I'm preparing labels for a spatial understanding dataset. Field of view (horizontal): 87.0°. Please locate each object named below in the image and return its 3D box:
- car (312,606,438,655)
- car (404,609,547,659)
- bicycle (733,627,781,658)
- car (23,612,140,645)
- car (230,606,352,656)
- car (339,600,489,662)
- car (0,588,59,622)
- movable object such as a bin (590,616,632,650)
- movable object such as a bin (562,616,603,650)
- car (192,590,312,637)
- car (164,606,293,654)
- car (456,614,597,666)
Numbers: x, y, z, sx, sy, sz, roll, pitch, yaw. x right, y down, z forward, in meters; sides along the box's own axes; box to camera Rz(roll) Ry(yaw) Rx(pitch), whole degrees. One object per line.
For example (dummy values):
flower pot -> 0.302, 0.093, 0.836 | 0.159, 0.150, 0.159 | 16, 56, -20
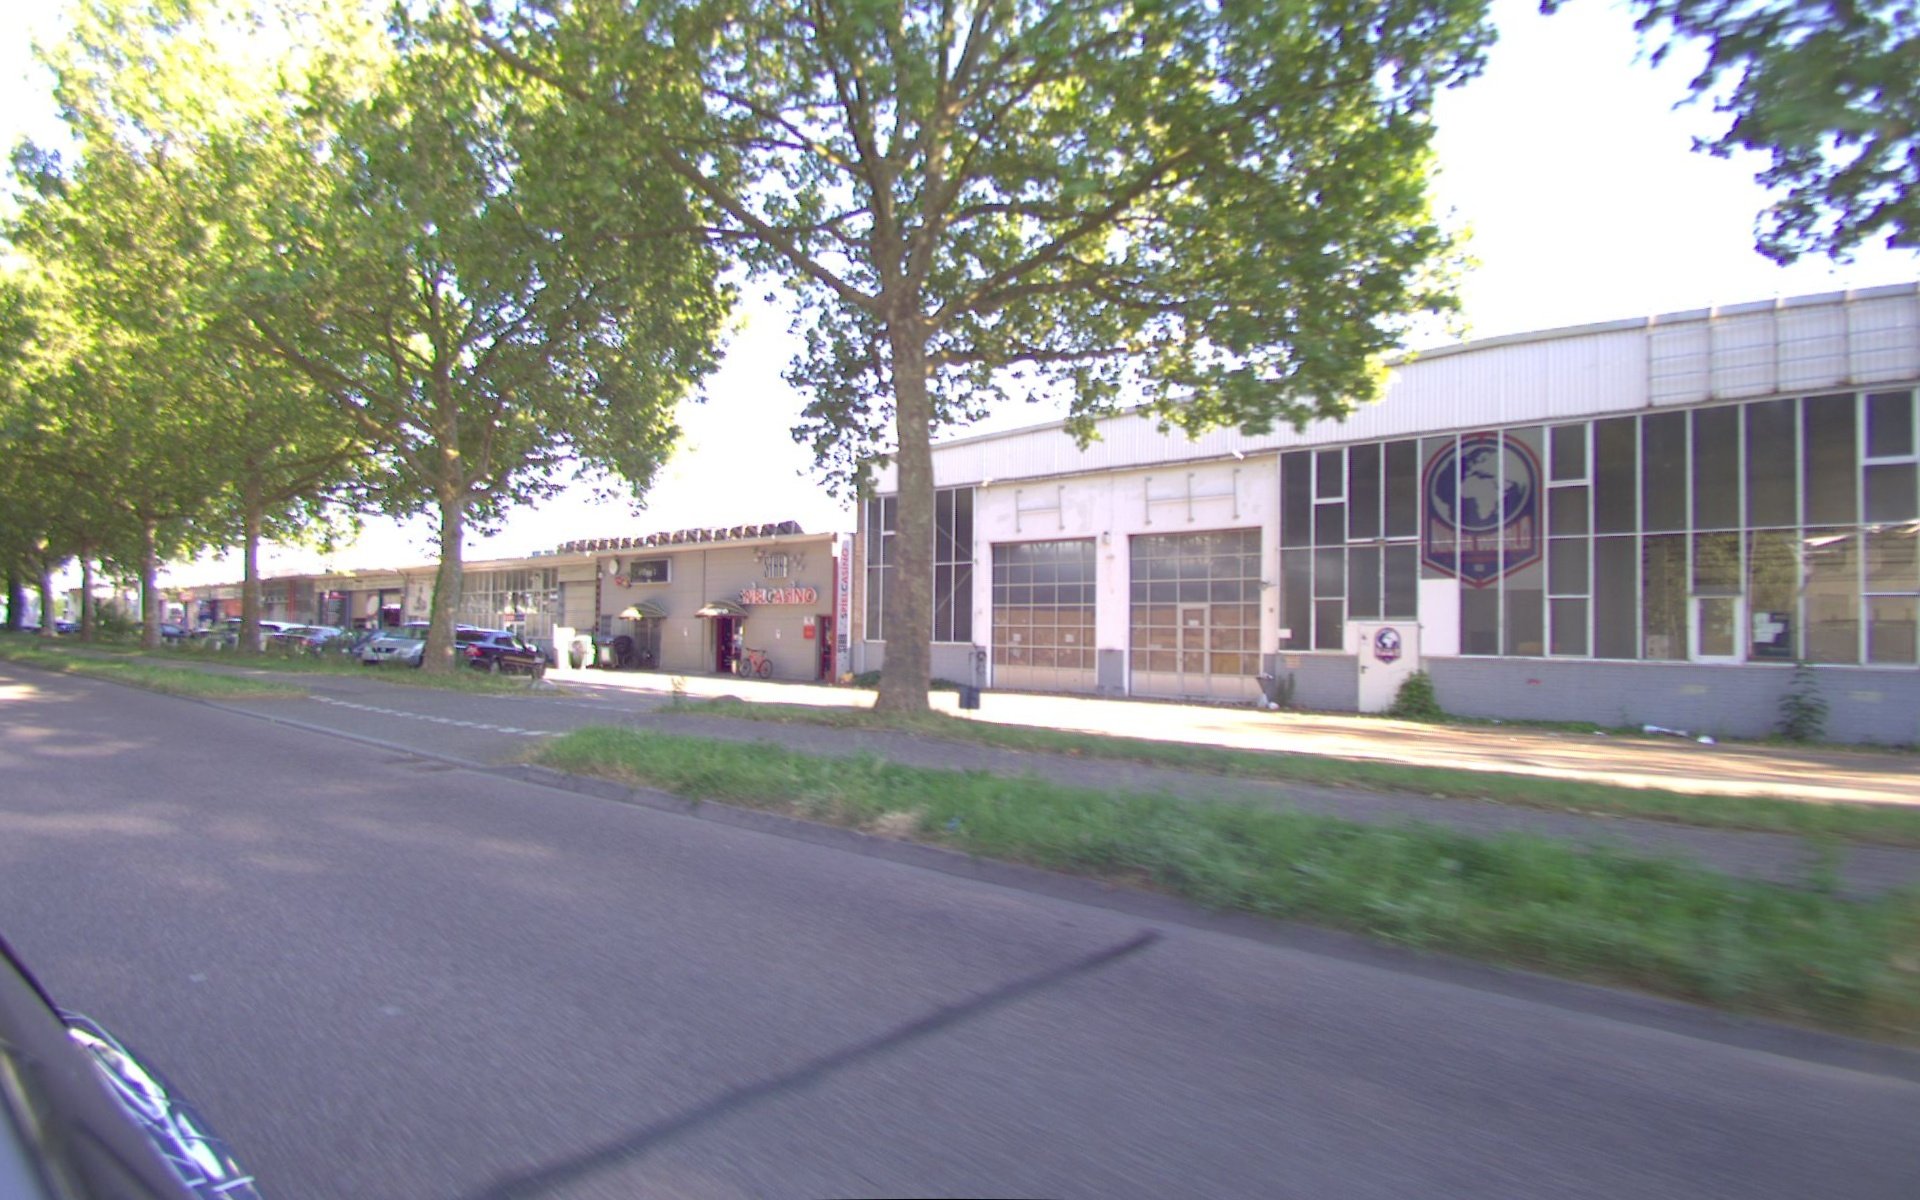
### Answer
car -> -21.228, 1.053, 36.958 | 1.974, 1.641, 4.258 | 0, 0, 4
car -> -13.706, 0.945, 28.956 | 1.972, 1.316, 4.484 | 0, -2, 0
bicycle -> -7.612, 1.579, 37.897 | 2.159, 1.066, 0.530 | 0, 5, 43
car -> -51.289, 1.642, 59.226 | 1.983, 1.773, 4.872 | 0, 0, 17
car -> -23.888, 1.059, 36.343 | 1.969, 1.641, 4.269 | 0, 0, -7
car -> -16.519, 0.874, 30.911 | 1.974, 1.744, 4.479 | 0, 0, 4
car -> -91.979, 0.413, 97.888 | 2.575, 2.875, 6.931 | 0, -5, 12
movable object such as a bin -> -15.226, 1.420, 44.176 | 1.626, 1.442, 1.046 | 0, 0, 39
movable object such as a bin -> -16.654, 1.437, 44.635 | 1.571, 1.442, 1.046 | 0, 0, 39
car -> -27.185, 0.482, 39.033 | 1.969, 1.712, 4.268 | 0, 0, -6
car -> -29.145, 1.147, 40.458 | 1.977, 1.763, 3.989 | 0, 0, 9
car -> -11.661, 1.061, 27.599 | 1.972, 1.316, 4.484 | 0, -2, 0
